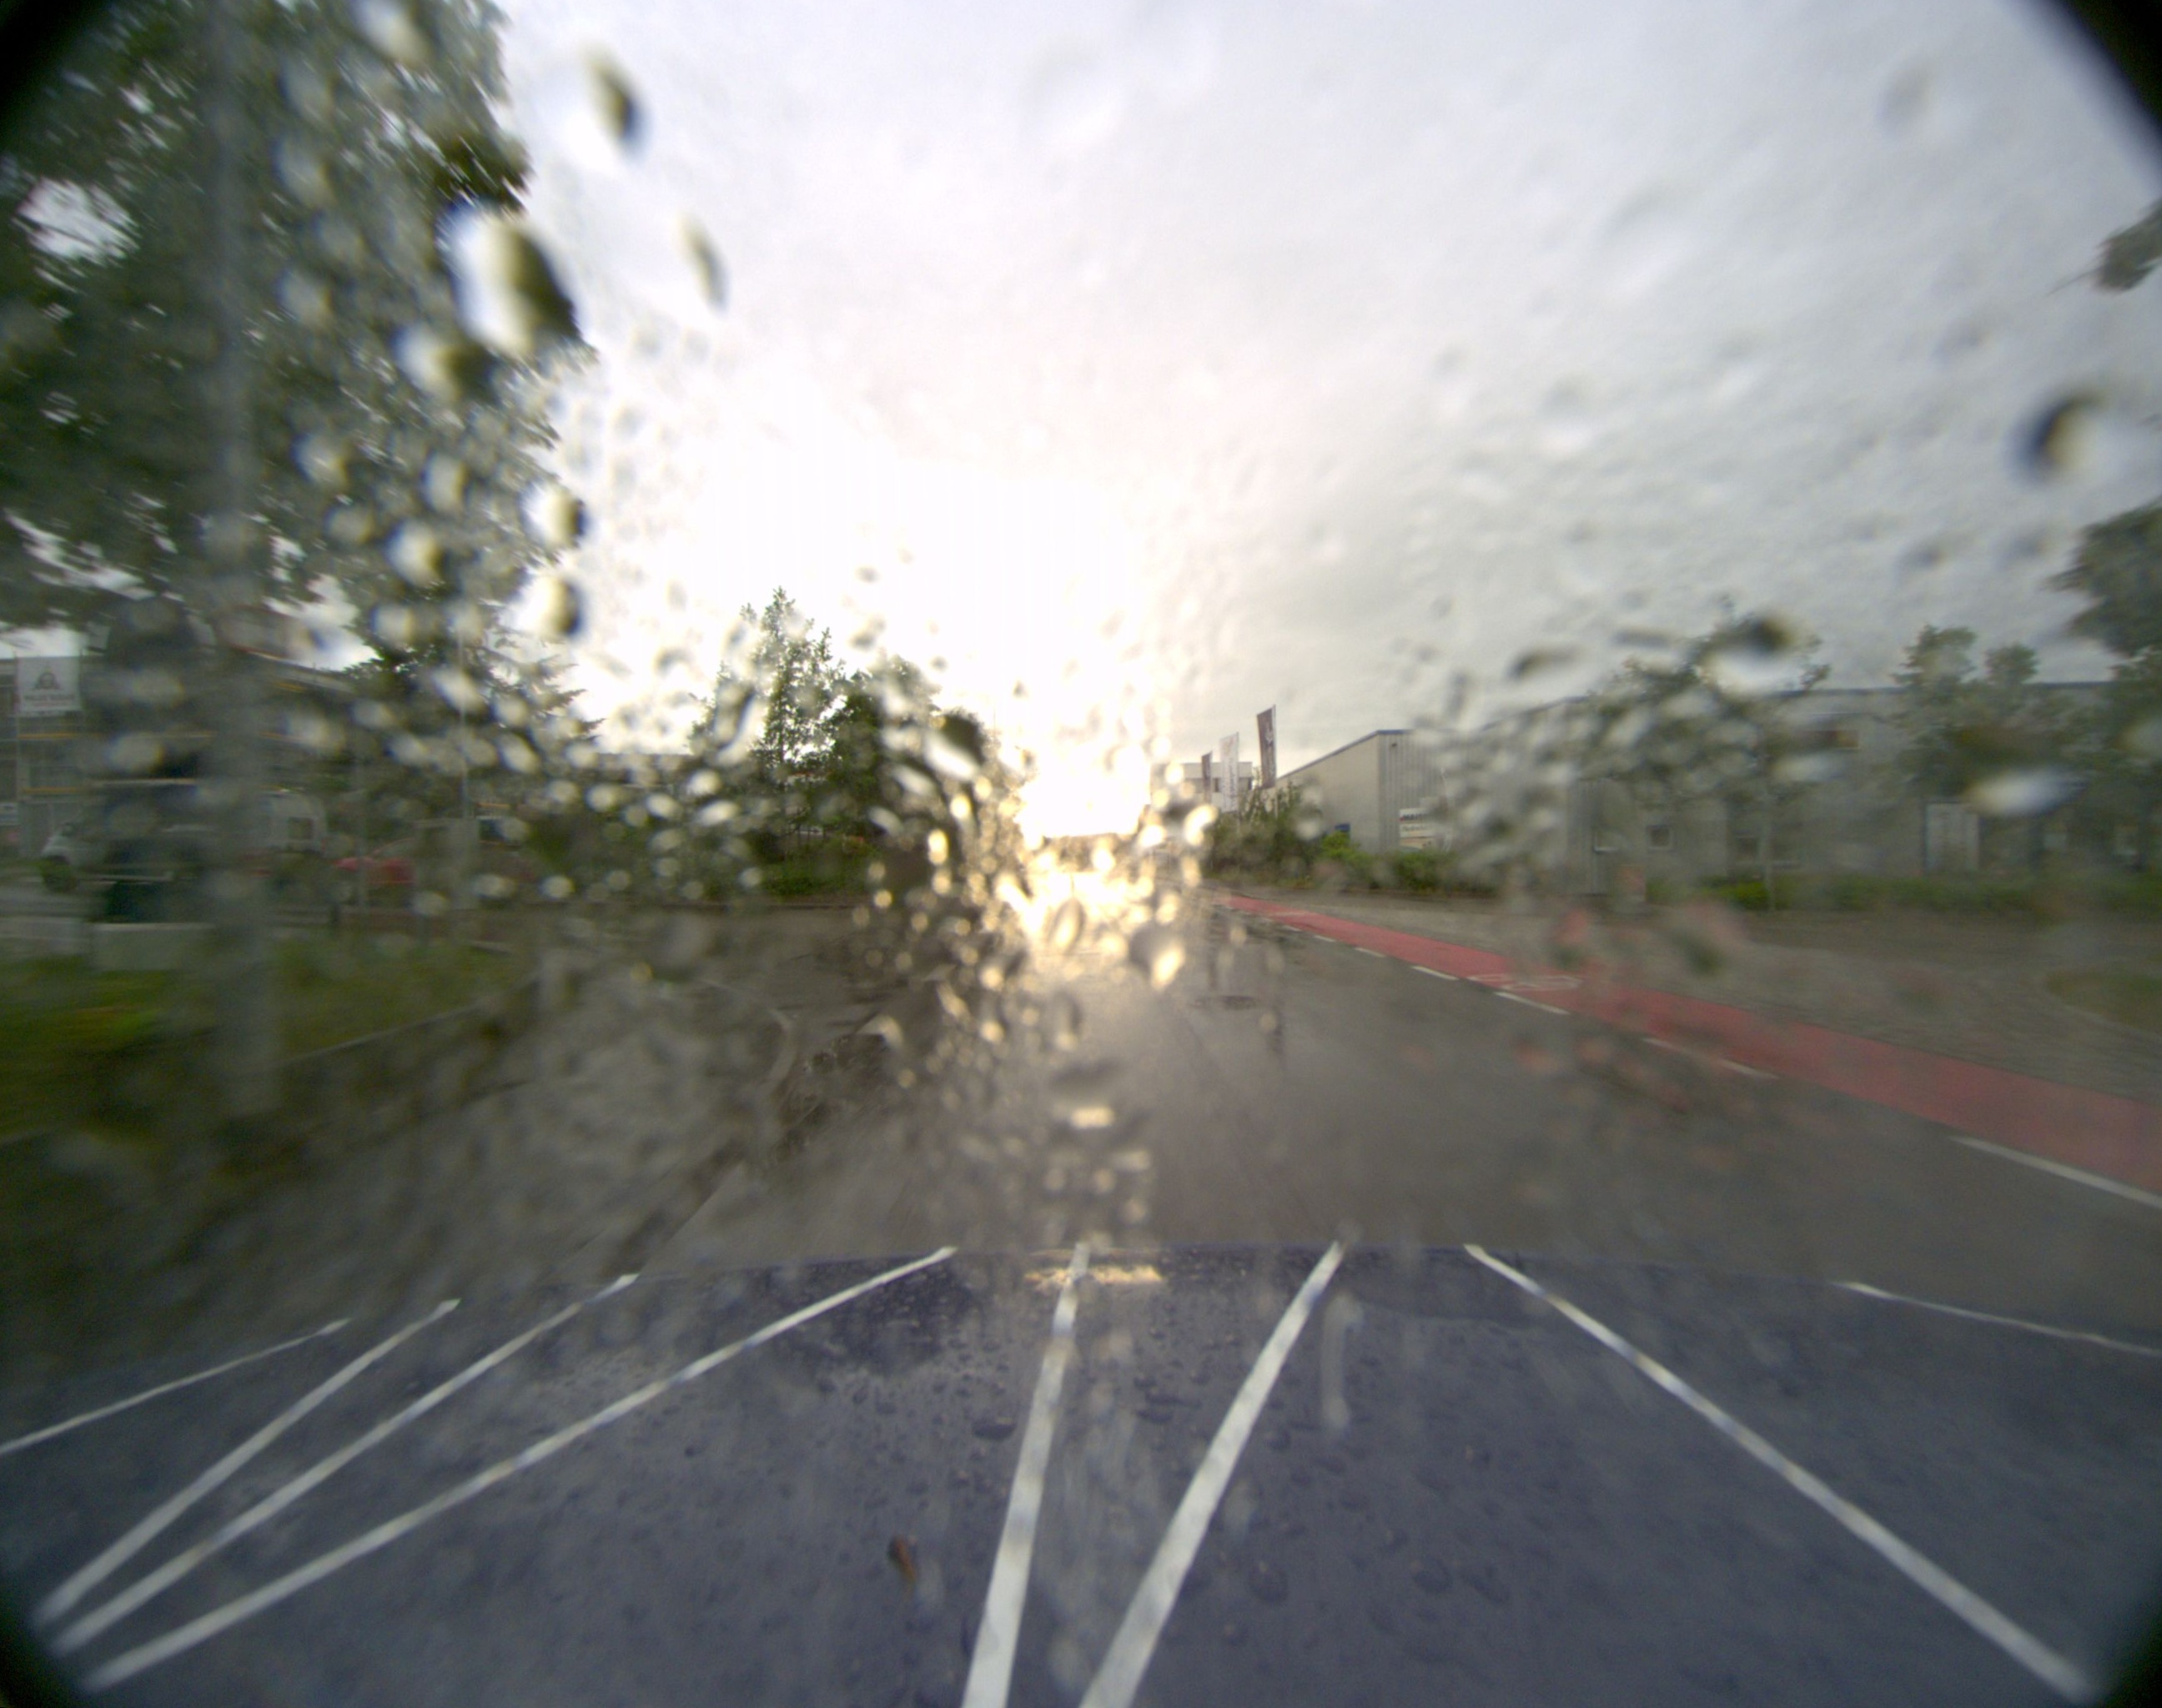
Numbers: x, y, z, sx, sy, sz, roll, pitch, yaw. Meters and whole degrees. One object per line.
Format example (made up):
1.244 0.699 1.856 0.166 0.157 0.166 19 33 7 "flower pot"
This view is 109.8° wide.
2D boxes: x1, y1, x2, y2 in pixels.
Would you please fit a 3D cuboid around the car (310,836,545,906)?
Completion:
-14.967 0.371 17.567 3.890 1.490 1.768 -1 0 0 "car"

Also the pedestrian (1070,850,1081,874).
-0.393 0.611 58.177 0.747 1.827 0.889 0 0 -6 "pedestrian"

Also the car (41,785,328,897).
-20.971 -0.257 17.877 4.912 2.424 2.001 -1 0 8 "car"
